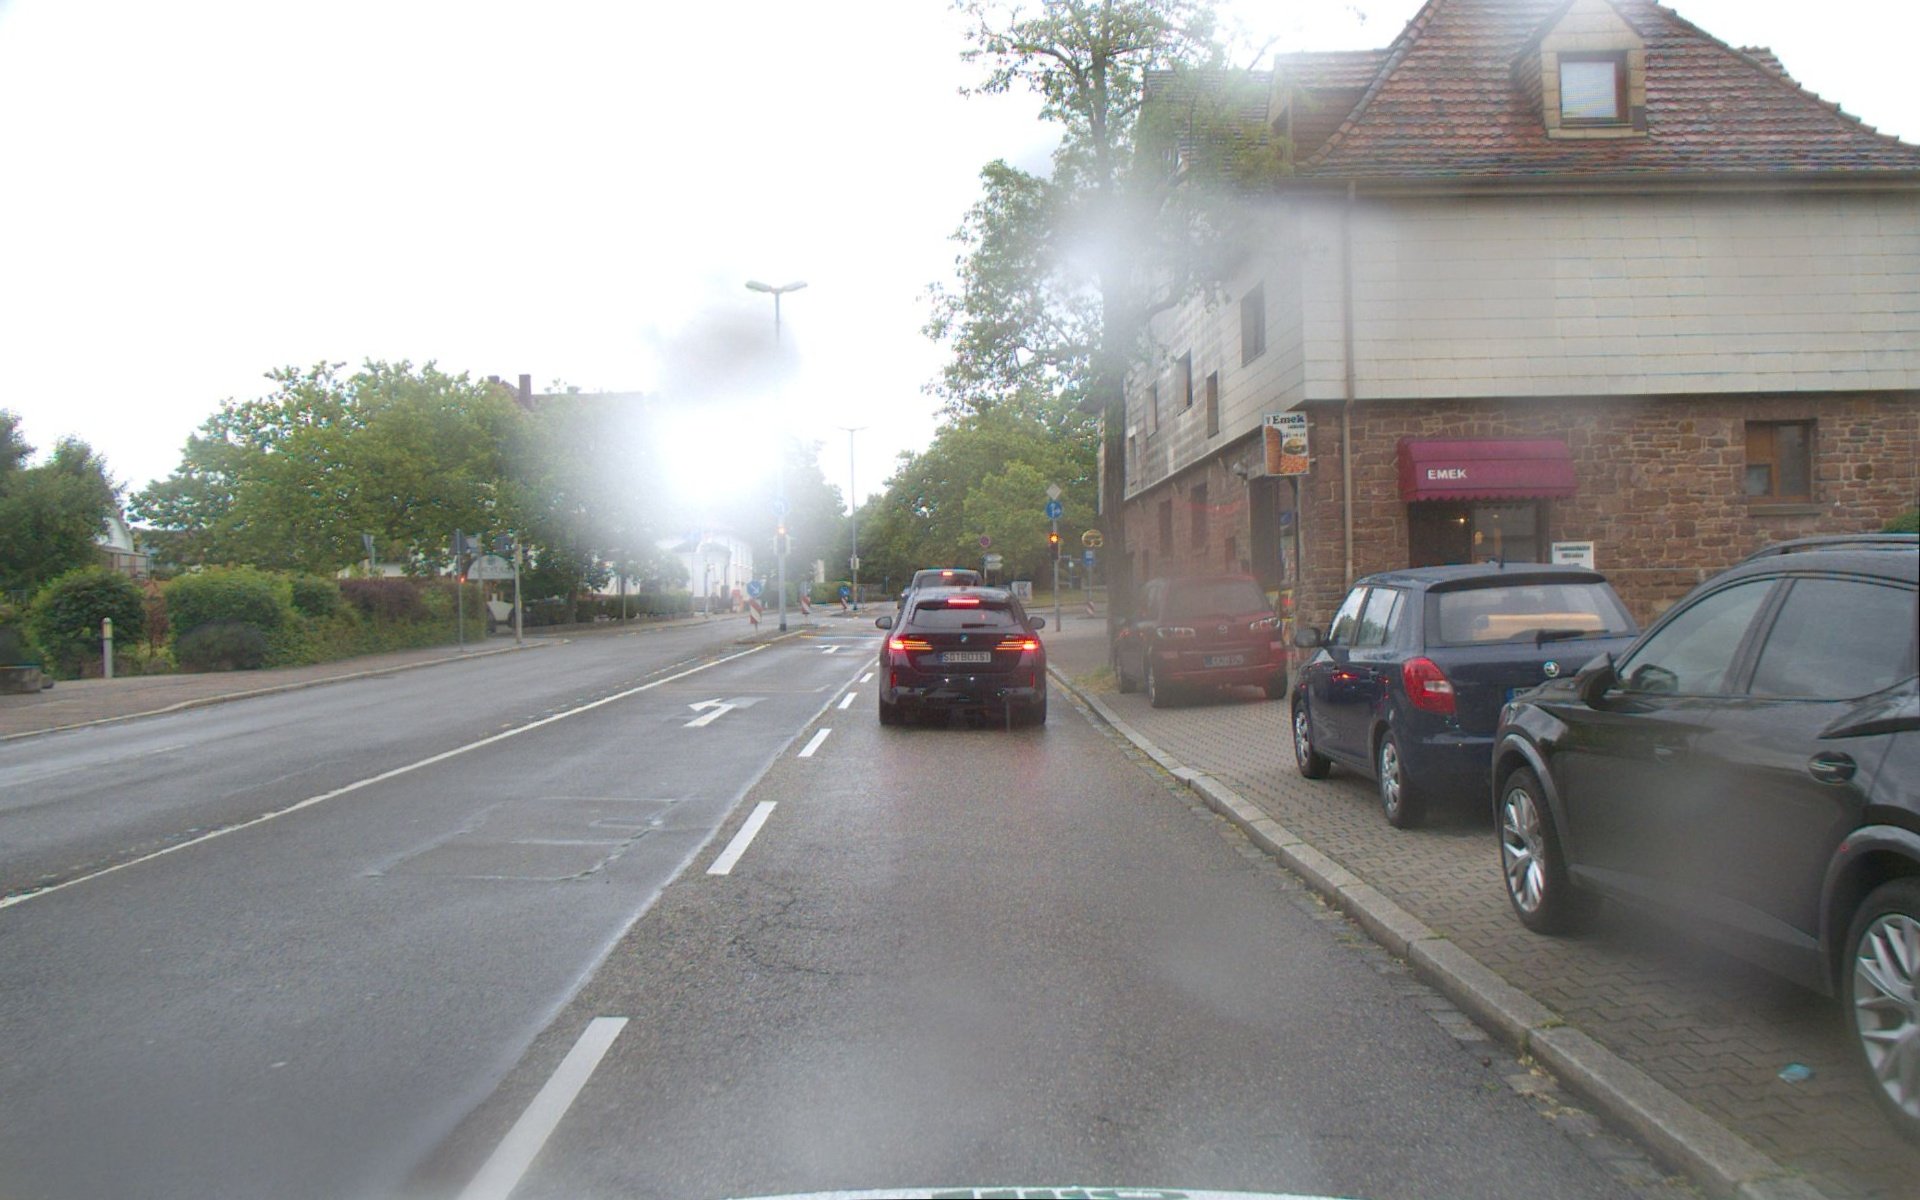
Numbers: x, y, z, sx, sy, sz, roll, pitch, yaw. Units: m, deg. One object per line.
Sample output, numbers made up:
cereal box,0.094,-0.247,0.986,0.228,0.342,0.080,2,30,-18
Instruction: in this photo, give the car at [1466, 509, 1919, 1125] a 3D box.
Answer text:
car,3.160,0.476,5.292,1.679,1.524,4.183,-4,1,-1

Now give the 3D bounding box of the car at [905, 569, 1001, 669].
car,-0.189,0.336,32.808,1.748,1.849,3.998,-1,1,-2

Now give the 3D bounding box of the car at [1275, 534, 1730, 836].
car,3.271,0.432,10.768,1.572,1.497,3.856,-4,1,-1

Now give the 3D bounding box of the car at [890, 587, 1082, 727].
car,0.181,0.595,19.660,2.023,1.472,4.481,0,0,-3

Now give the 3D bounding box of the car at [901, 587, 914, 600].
car,-6.231,-0.778,196.596,1.435,1.422,3.321,-1,1,-1

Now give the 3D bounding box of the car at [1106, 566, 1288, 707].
car,2.896,0.393,20.904,1.552,1.516,3.626,-4,1,-3
